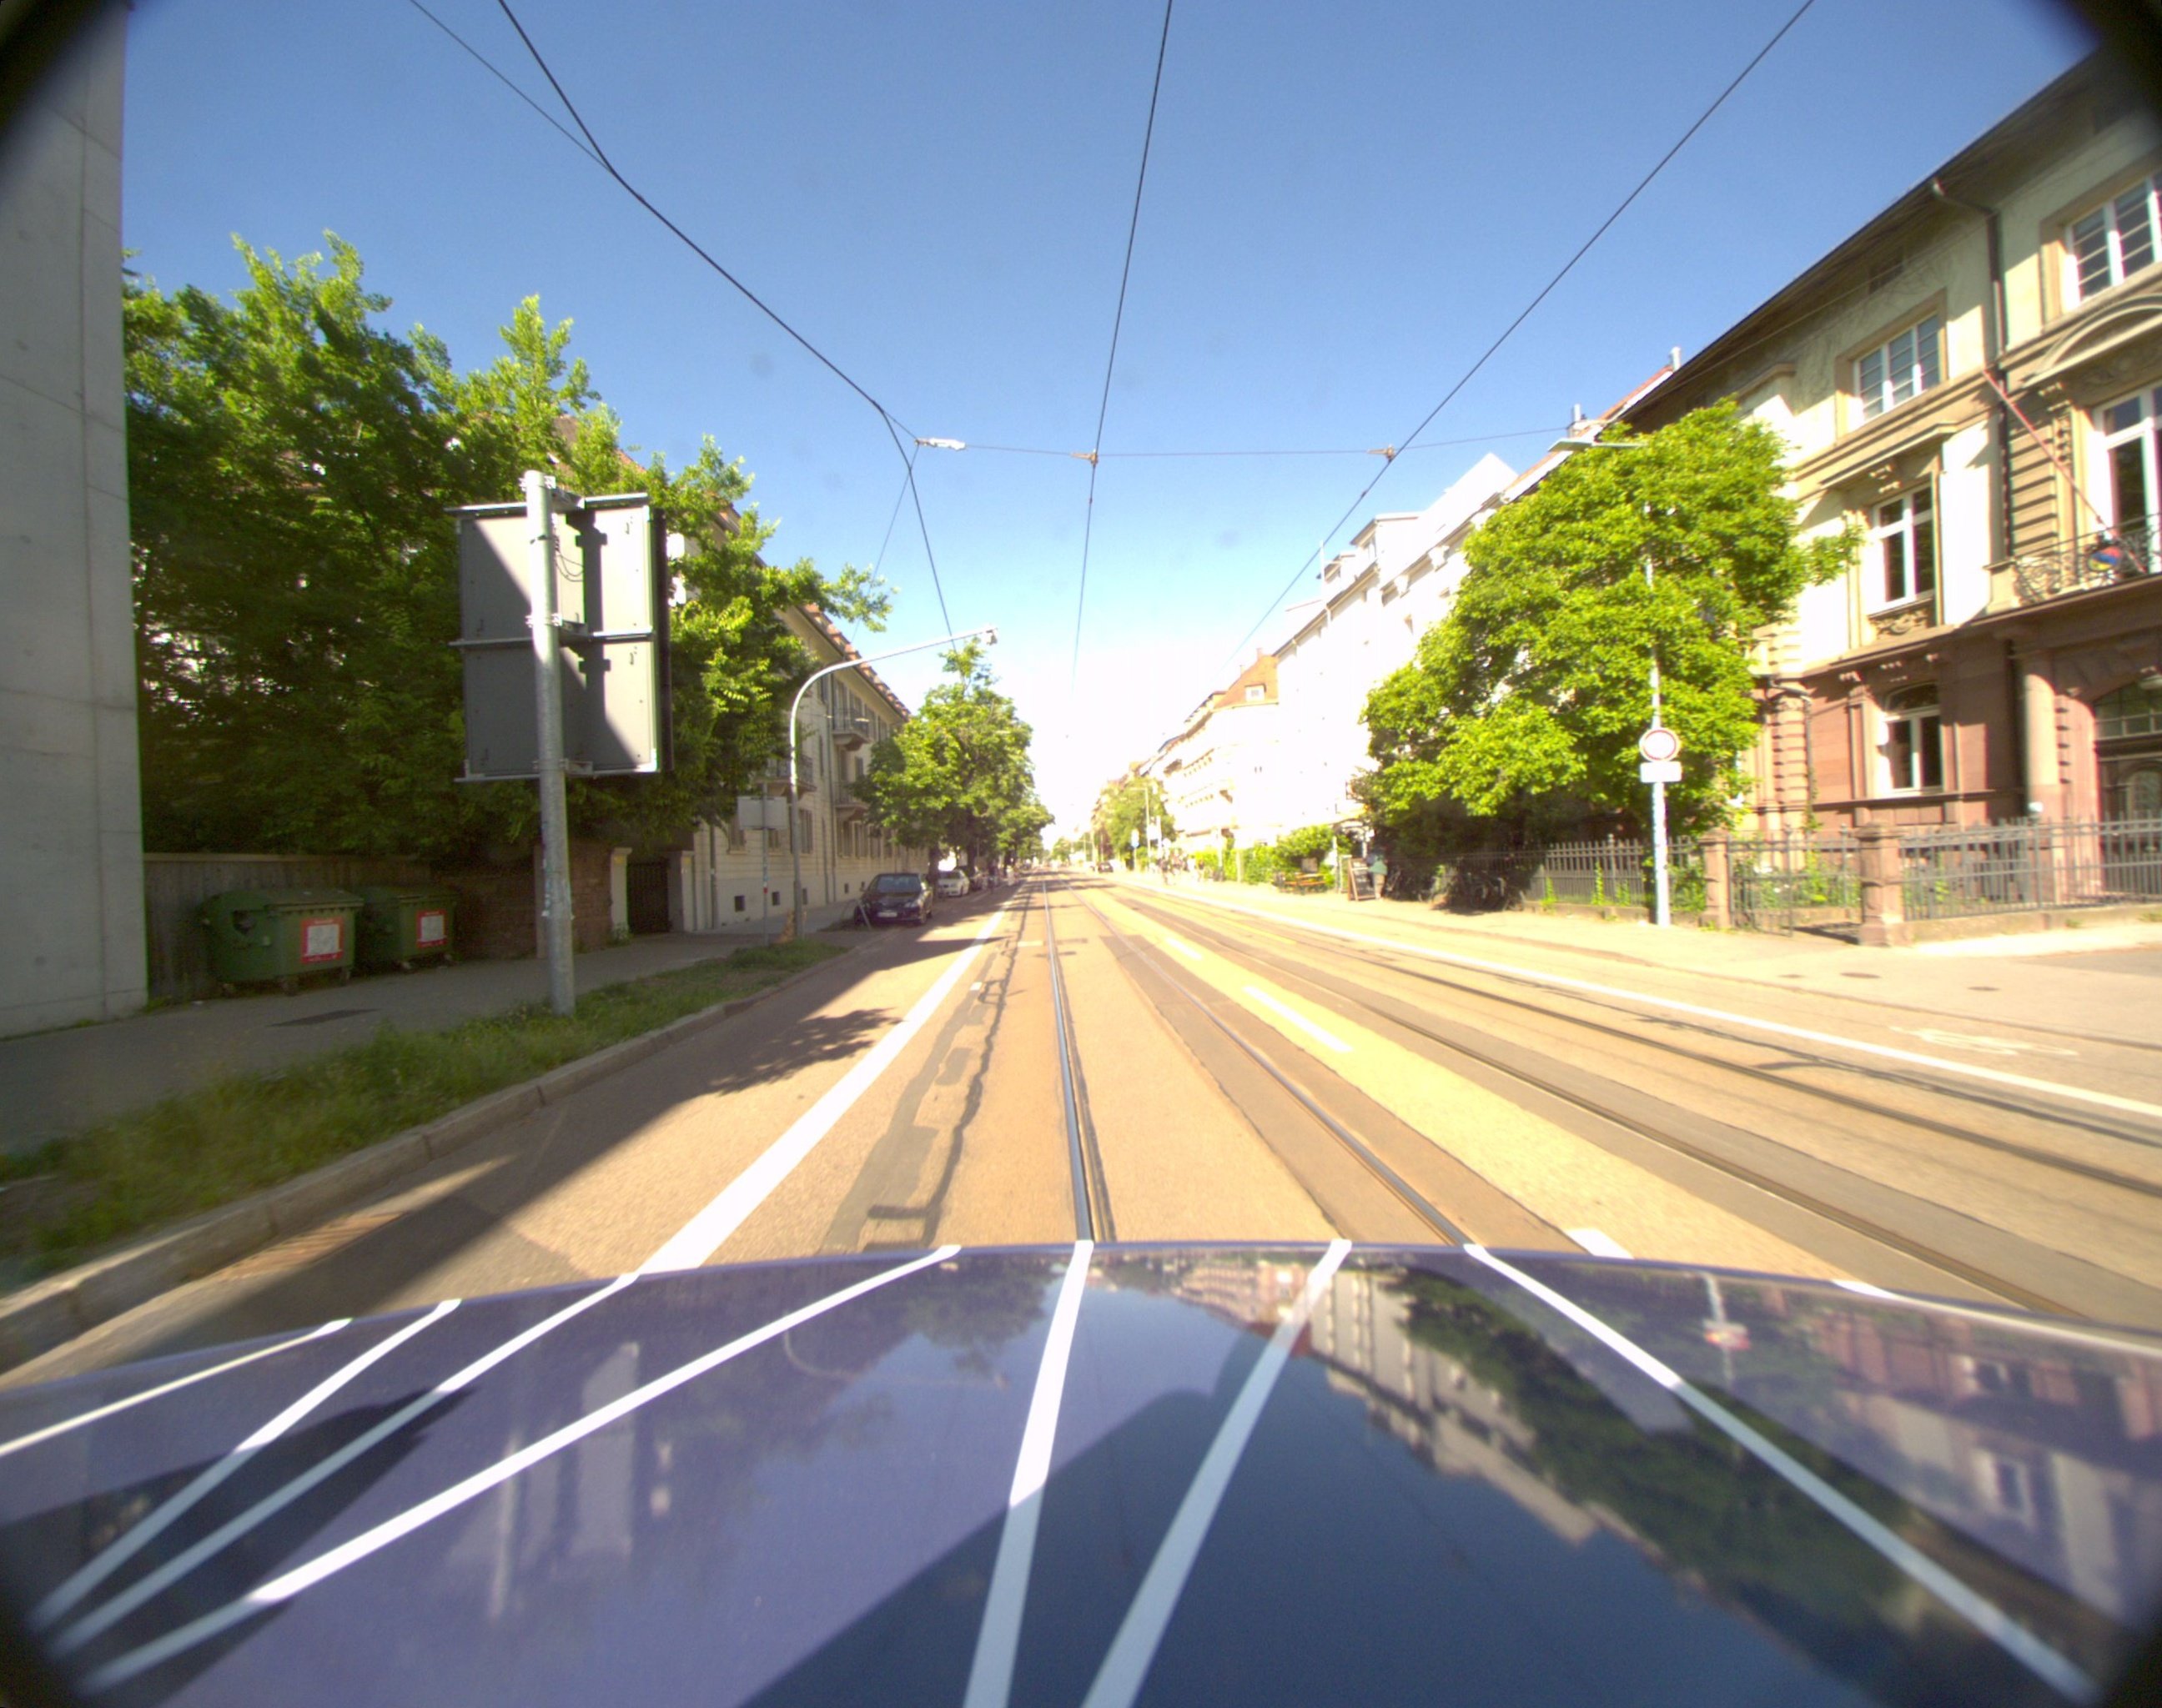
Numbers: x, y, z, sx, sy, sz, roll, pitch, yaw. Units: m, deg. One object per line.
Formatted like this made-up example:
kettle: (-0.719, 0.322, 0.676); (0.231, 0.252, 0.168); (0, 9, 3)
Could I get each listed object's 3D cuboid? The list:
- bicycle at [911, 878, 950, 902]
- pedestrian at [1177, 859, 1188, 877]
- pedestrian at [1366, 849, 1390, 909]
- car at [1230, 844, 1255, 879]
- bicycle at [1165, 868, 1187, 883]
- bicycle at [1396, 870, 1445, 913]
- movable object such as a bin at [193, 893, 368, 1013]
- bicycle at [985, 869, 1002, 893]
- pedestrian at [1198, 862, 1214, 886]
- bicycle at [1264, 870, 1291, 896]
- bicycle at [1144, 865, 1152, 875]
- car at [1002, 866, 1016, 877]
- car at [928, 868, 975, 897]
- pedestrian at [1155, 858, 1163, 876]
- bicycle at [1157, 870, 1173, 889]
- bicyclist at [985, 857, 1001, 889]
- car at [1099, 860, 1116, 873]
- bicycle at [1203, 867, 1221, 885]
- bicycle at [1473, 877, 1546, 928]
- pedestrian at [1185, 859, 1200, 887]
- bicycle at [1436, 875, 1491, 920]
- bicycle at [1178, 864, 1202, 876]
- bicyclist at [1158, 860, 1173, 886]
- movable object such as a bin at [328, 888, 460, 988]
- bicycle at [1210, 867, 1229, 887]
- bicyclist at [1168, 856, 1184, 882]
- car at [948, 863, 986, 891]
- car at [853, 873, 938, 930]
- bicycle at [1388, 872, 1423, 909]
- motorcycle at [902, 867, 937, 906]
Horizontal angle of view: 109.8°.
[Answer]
bicycle: (-6.890, 1.638, 34.854); (1.624, 1.037, 0.685); (-1, 0, -2)
pedestrian: (9.454, 1.271, 70.878); (0.705, 1.645, 0.834); (-1, 1, 29)
pedestrian: (9.244, 0.780, 23.679); (0.576, 1.821, 0.690); (-2, 0, 16)
car: (14.241, 0.612, 66.712); (1.889, 2.825, 4.788); (-2, 1, 14)
bicycle: (7.142, 1.595, 56.969); (0.705, 1.049, 1.839); (-1, 1, 41)
bicycle: (9.921, 1.064, 22.279); (0.647, 1.136, 1.906); (-4, 0, 5)
movable object such as a bin: (-10.990, 1.316, 10.508); (0.936, 1.454, 1.355); (-2, 0, -1)
bicycle: (-4.909, 1.490, 42.663); (0.763, 1.235, 2.095); (-3, 0, -3)
pedestrian: (8.011, 1.253, 48.752); (0.756, 1.469, 0.956); (-4, 0, -2)
bicycle: (8.964, 1.311, 34.673); (0.640, 1.053, 1.743); (-5, 0, -2)
bicycle: (6.946, 1.675, 78.516); (0.515, 1.032, 2.222); (-2, 0, -2)
car: (-10.005, 2.381, 106.263); (1.706, 1.463, 4.213); (-1, -1, -2)
car: (-6.620, 1.428, 39.123); (1.728, 1.373, 4.355); (-1, -1, -1)
pedestrian: (7.494, 1.246, 73.250); (0.558, 1.771, 0.538); (-2, 0, -6)
bicycle: (5.226, 1.581, 47.290); (0.747, 1.075, 1.898); (1, 0, -1)
bicyclist: (-4.937, 1.047, 42.670); (0.763, 1.728, 1.046); (-3, 0, -3)
car: (3.483, 1.643, 100.341); (1.870, 1.567, 4.588); (0, -1, -3)
bicycle: (8.381, 1.406, 48.717); (0.663, 1.083, 1.840); (-5, 1, -2)
bicycle: (9.966, 1.099, 17.744); (0.591, 1.039, 1.905); (-4, 0, 1)
pedestrian: (7.146, 1.206, 48.738); (0.756, 1.704, 0.808); (-4, 0, -2)
bicycle: (9.972, 1.108, 19.864); (0.591, 1.039, 1.906); (-3, 0, 5)
bicycle: (10.437, 1.511, 73.065); (2.244, 1.038, 0.876); (-2, 1, 7)
bicyclist: (5.232, 1.194, 47.288); (0.747, 1.590, 1.117); (1, 0, -1)
movable object such as a bin: (-11.153, 1.331, 12.403); (0.936, 1.454, 1.331); (-2, 0, -4)
bicycle: (8.489, 1.393, 46.684); (0.663, 1.083, 1.840); (-5, 1, -2)
bicyclist: (7.085, 1.126, 56.907); (0.705, 1.843, 0.987); (-1, 2, 41)
car: (-7.013, 1.390, 47.279); (1.815, 1.616, 4.583); (0, -1, -2)
car: (-5.389, 1.331, 22.690); (1.827, 1.450, 4.816); (0, -1, -6)
bicycle: (10.096, 1.127, 23.678); (0.637, 1.039, 2.024); (-2, 0, 14)
motorcycle: (-6.558, 1.284, 30.972); (0.916, 1.480, 2.679); (0, 0, -1)
